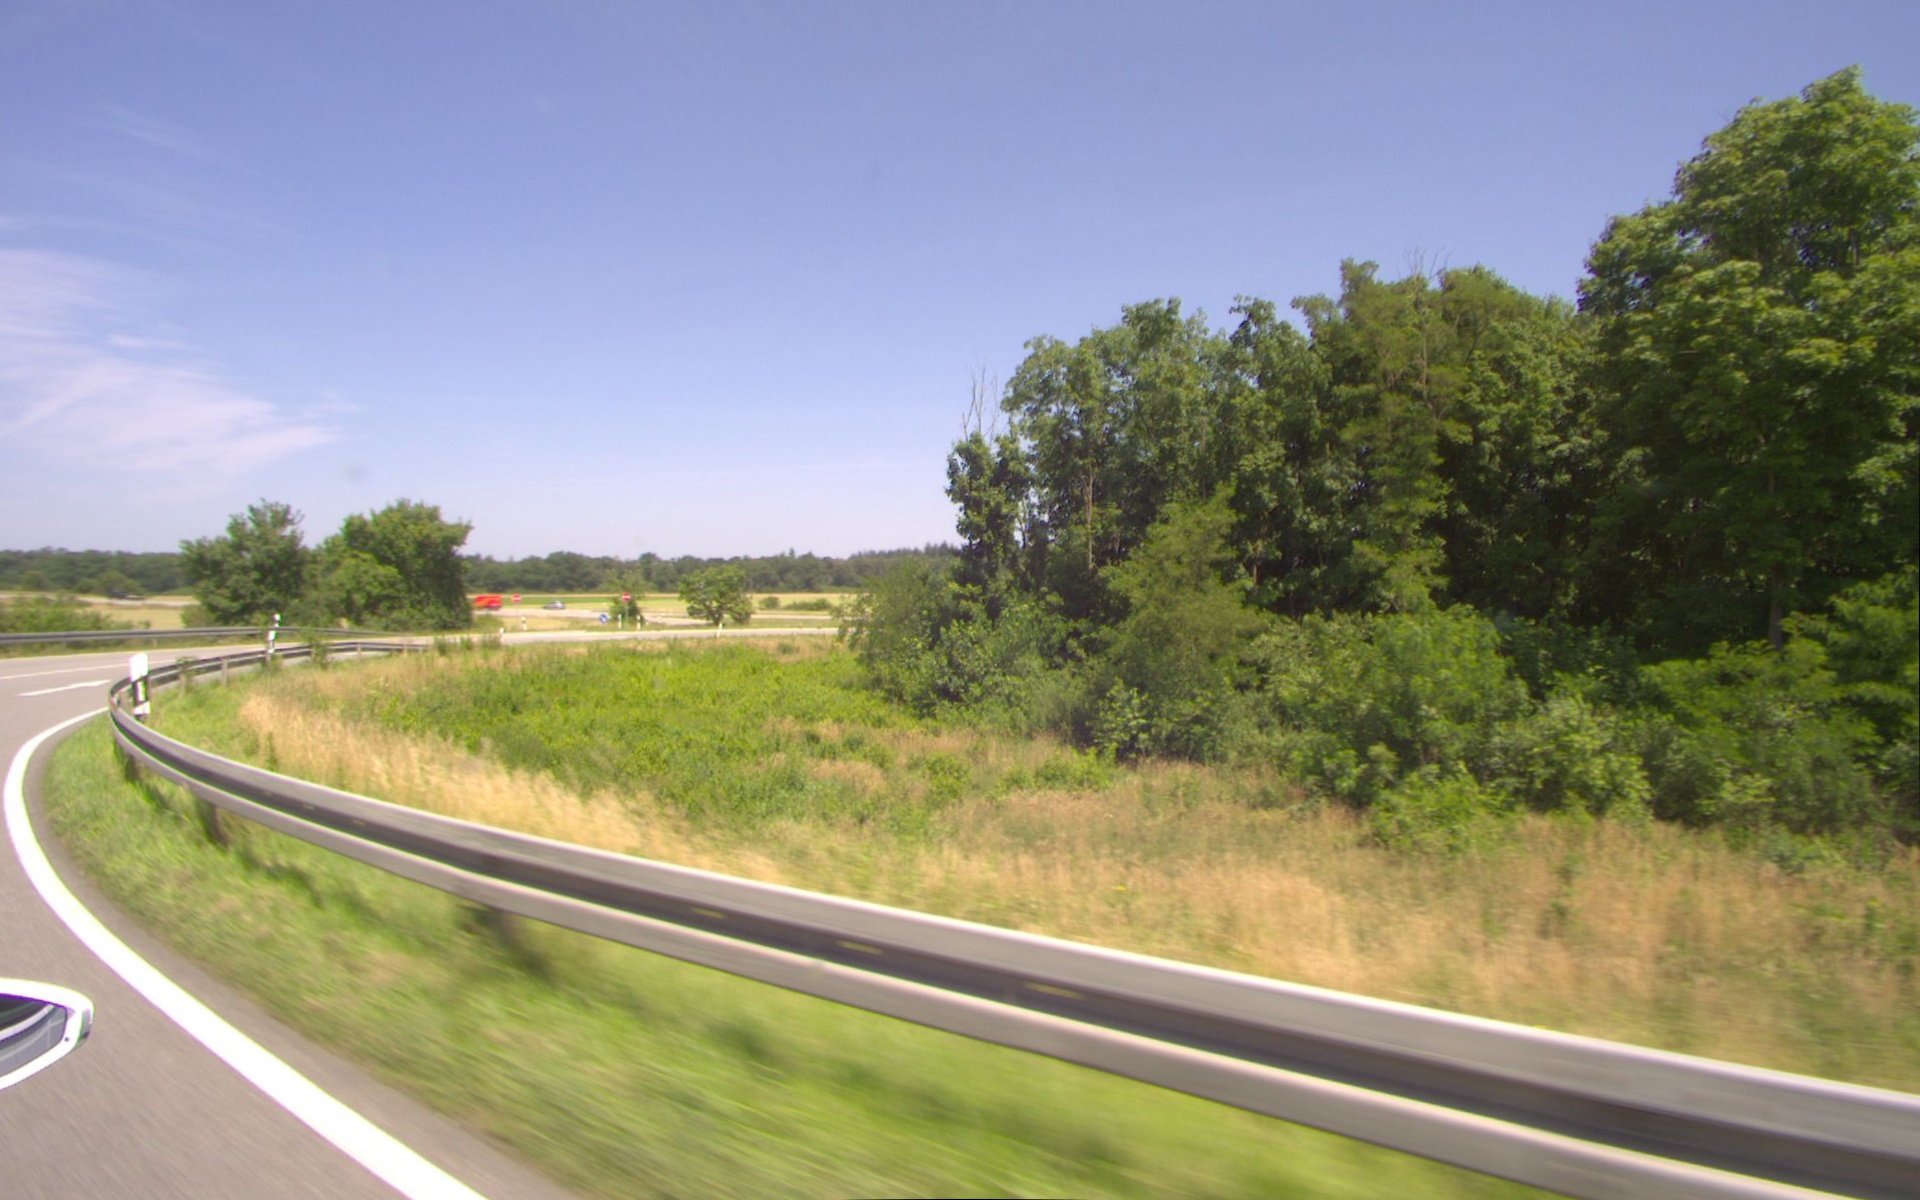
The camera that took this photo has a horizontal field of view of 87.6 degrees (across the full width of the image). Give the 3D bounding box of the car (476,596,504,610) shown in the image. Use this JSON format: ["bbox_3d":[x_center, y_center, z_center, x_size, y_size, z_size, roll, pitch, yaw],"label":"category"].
[{"bbox_3d":[-77.932,0.532,166.001,4.176,2.039,2.013,-2,-2,25],"label":"car"}]
